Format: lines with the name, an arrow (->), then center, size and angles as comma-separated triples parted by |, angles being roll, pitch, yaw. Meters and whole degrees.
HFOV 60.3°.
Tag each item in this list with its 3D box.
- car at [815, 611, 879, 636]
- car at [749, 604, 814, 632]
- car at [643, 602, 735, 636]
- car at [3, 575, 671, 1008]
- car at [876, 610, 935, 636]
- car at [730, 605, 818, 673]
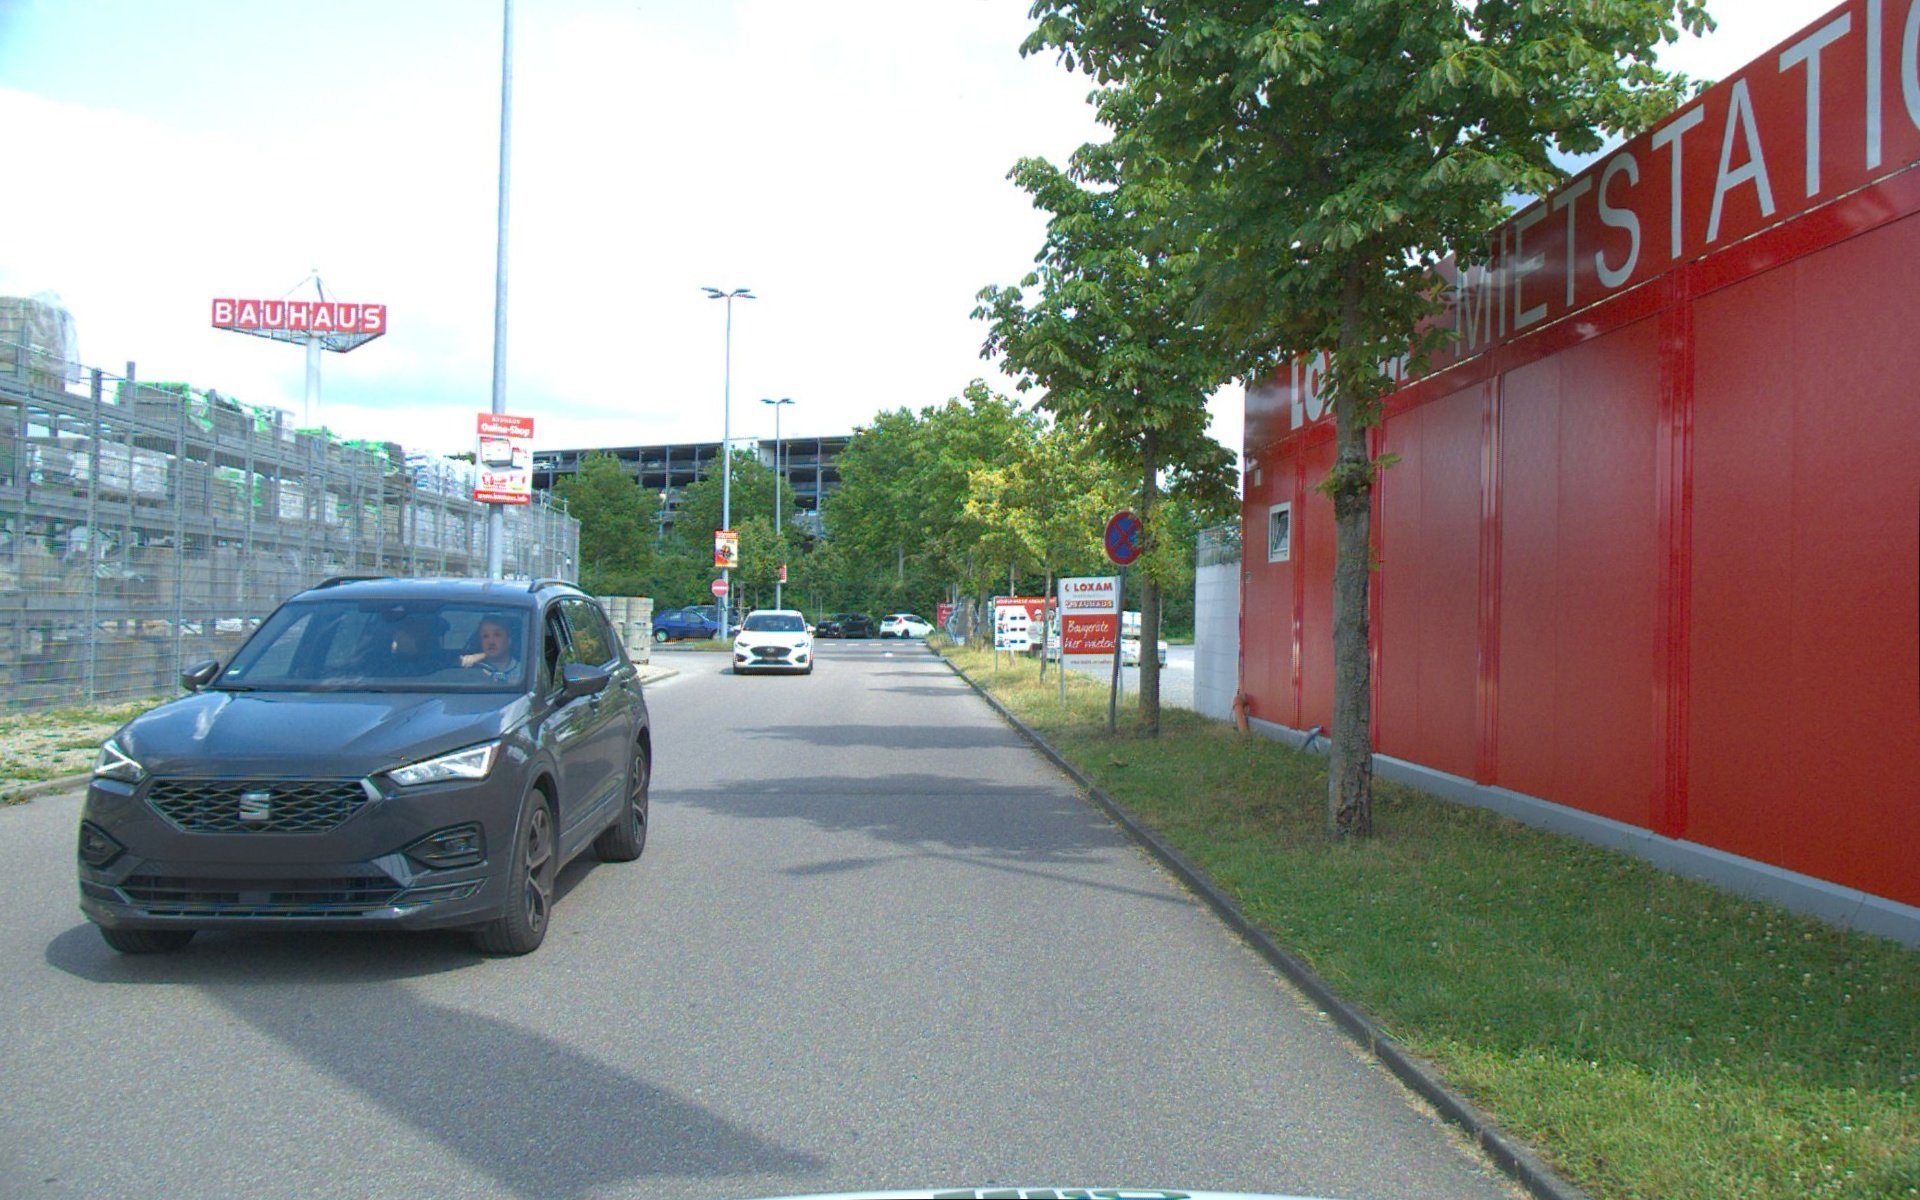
car -> -6.690, 1.366, 98.274 | 1.696, 1.435, 4.232 | 0, -1, 31
car -> -10.890, 1.110, 101.015 | 1.655, 1.536, 4.068 | -6, -4, 34
car -> -11.598, 0.817, 70.957 | 3.676, 1.392, 1.620 | 1, 0, -3
car -> -2.753, 0.720, 8.504 | 1.876, 1.646, 4.372 | 0, 0, -2
car -> -3.149, 1.335, 95.814 | 1.637, 1.436, 3.544 | 0, -1, 36
car -> -4.347, 0.883, 39.161 | 1.768, 1.490, 4.326 | 1, 0, -3
